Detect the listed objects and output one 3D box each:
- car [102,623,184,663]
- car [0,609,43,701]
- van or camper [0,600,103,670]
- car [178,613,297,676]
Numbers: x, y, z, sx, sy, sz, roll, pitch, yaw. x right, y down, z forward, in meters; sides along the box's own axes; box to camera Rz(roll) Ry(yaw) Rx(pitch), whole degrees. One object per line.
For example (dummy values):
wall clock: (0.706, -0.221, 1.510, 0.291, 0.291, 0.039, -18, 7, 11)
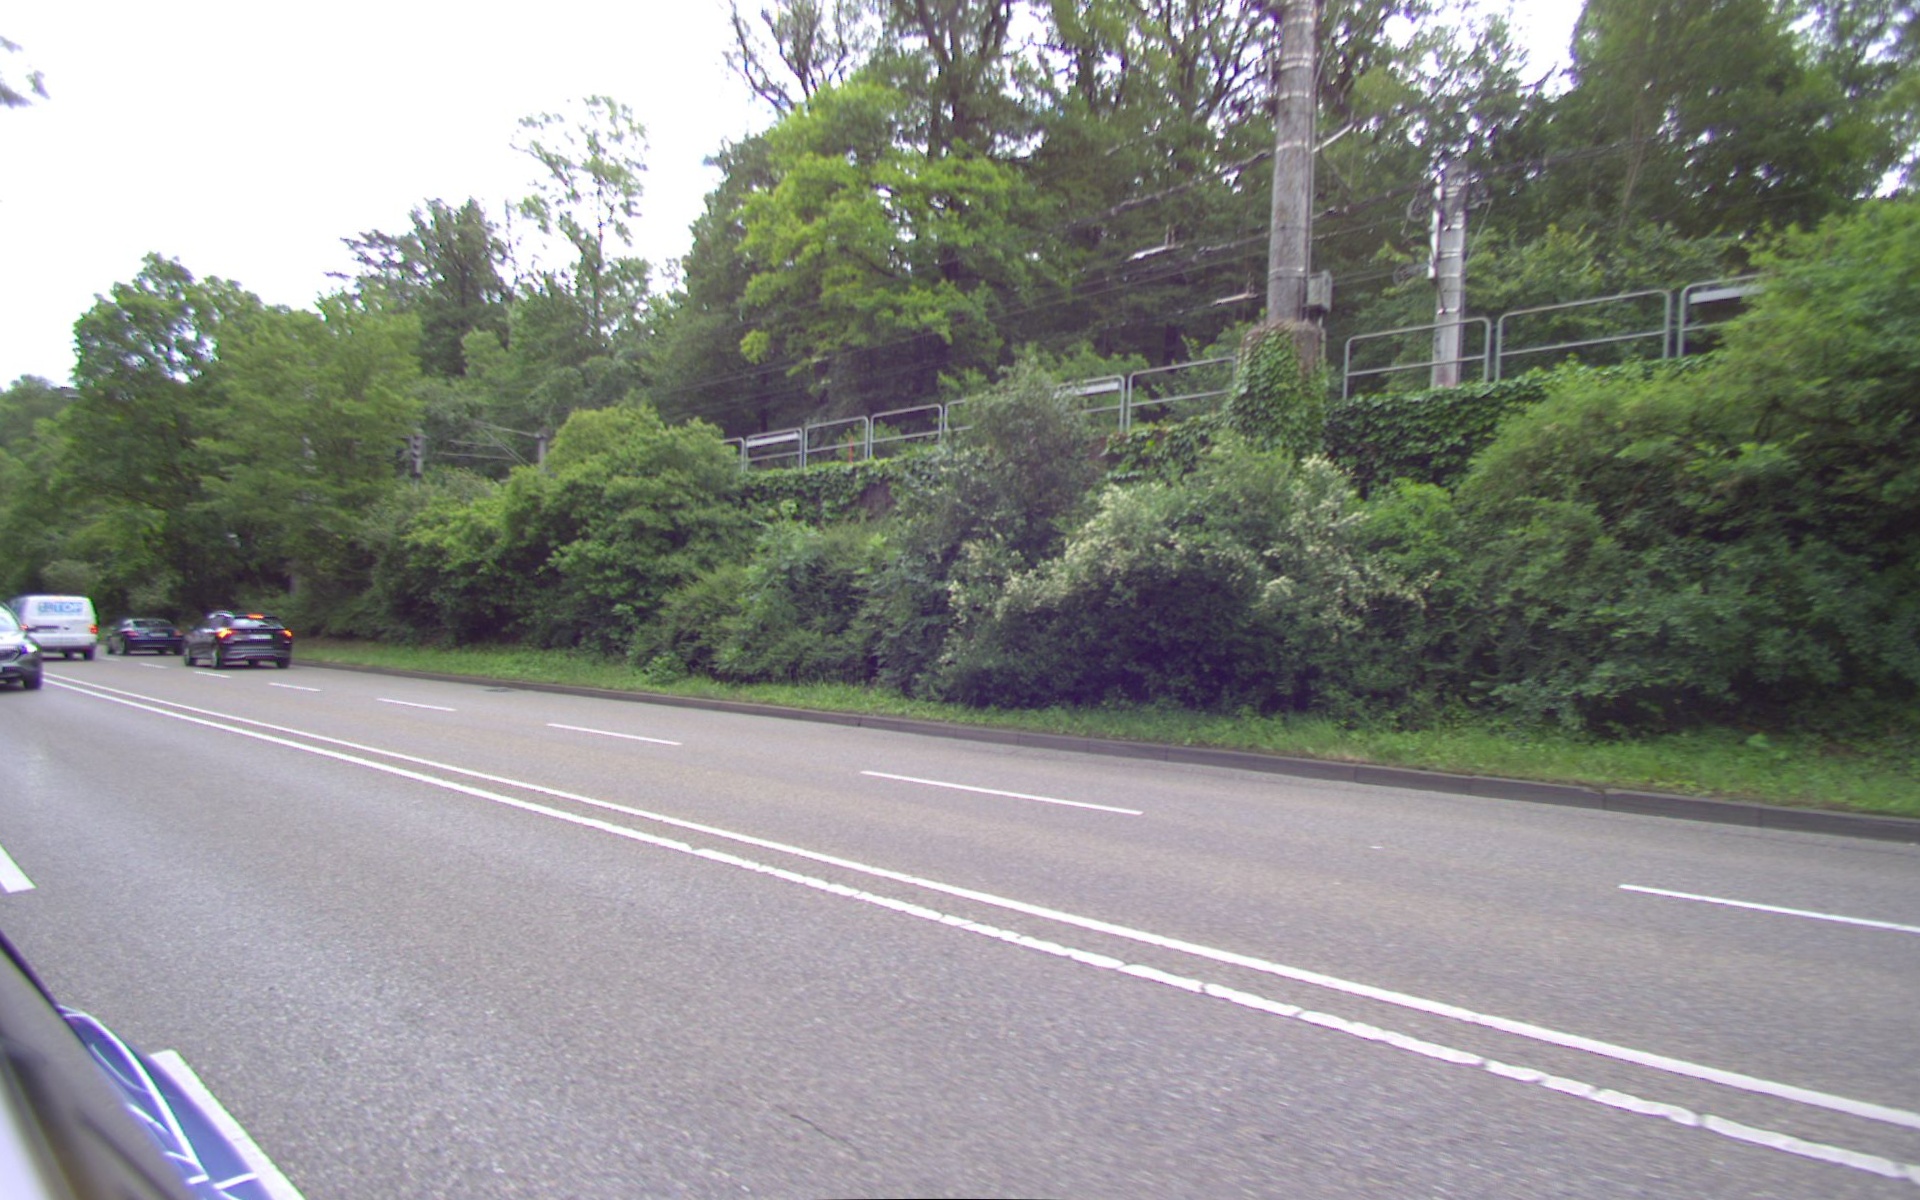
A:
car: (-29.515, 1.520, 36.515, 3.998, 1.322, 1.625, -1, -2, 41)
car: (-19.243, 1.022, 19.473, 4.189, 1.675, 1.847, -1, -1, 40)
van or camper: (-28.990, 1.070, 31.973, 5.363, 2.029, 1.974, -1, -1, 40)
car: (-20.056, 1.208, 28.027, 4.066, 1.608, 1.718, -1, -3, 41)
